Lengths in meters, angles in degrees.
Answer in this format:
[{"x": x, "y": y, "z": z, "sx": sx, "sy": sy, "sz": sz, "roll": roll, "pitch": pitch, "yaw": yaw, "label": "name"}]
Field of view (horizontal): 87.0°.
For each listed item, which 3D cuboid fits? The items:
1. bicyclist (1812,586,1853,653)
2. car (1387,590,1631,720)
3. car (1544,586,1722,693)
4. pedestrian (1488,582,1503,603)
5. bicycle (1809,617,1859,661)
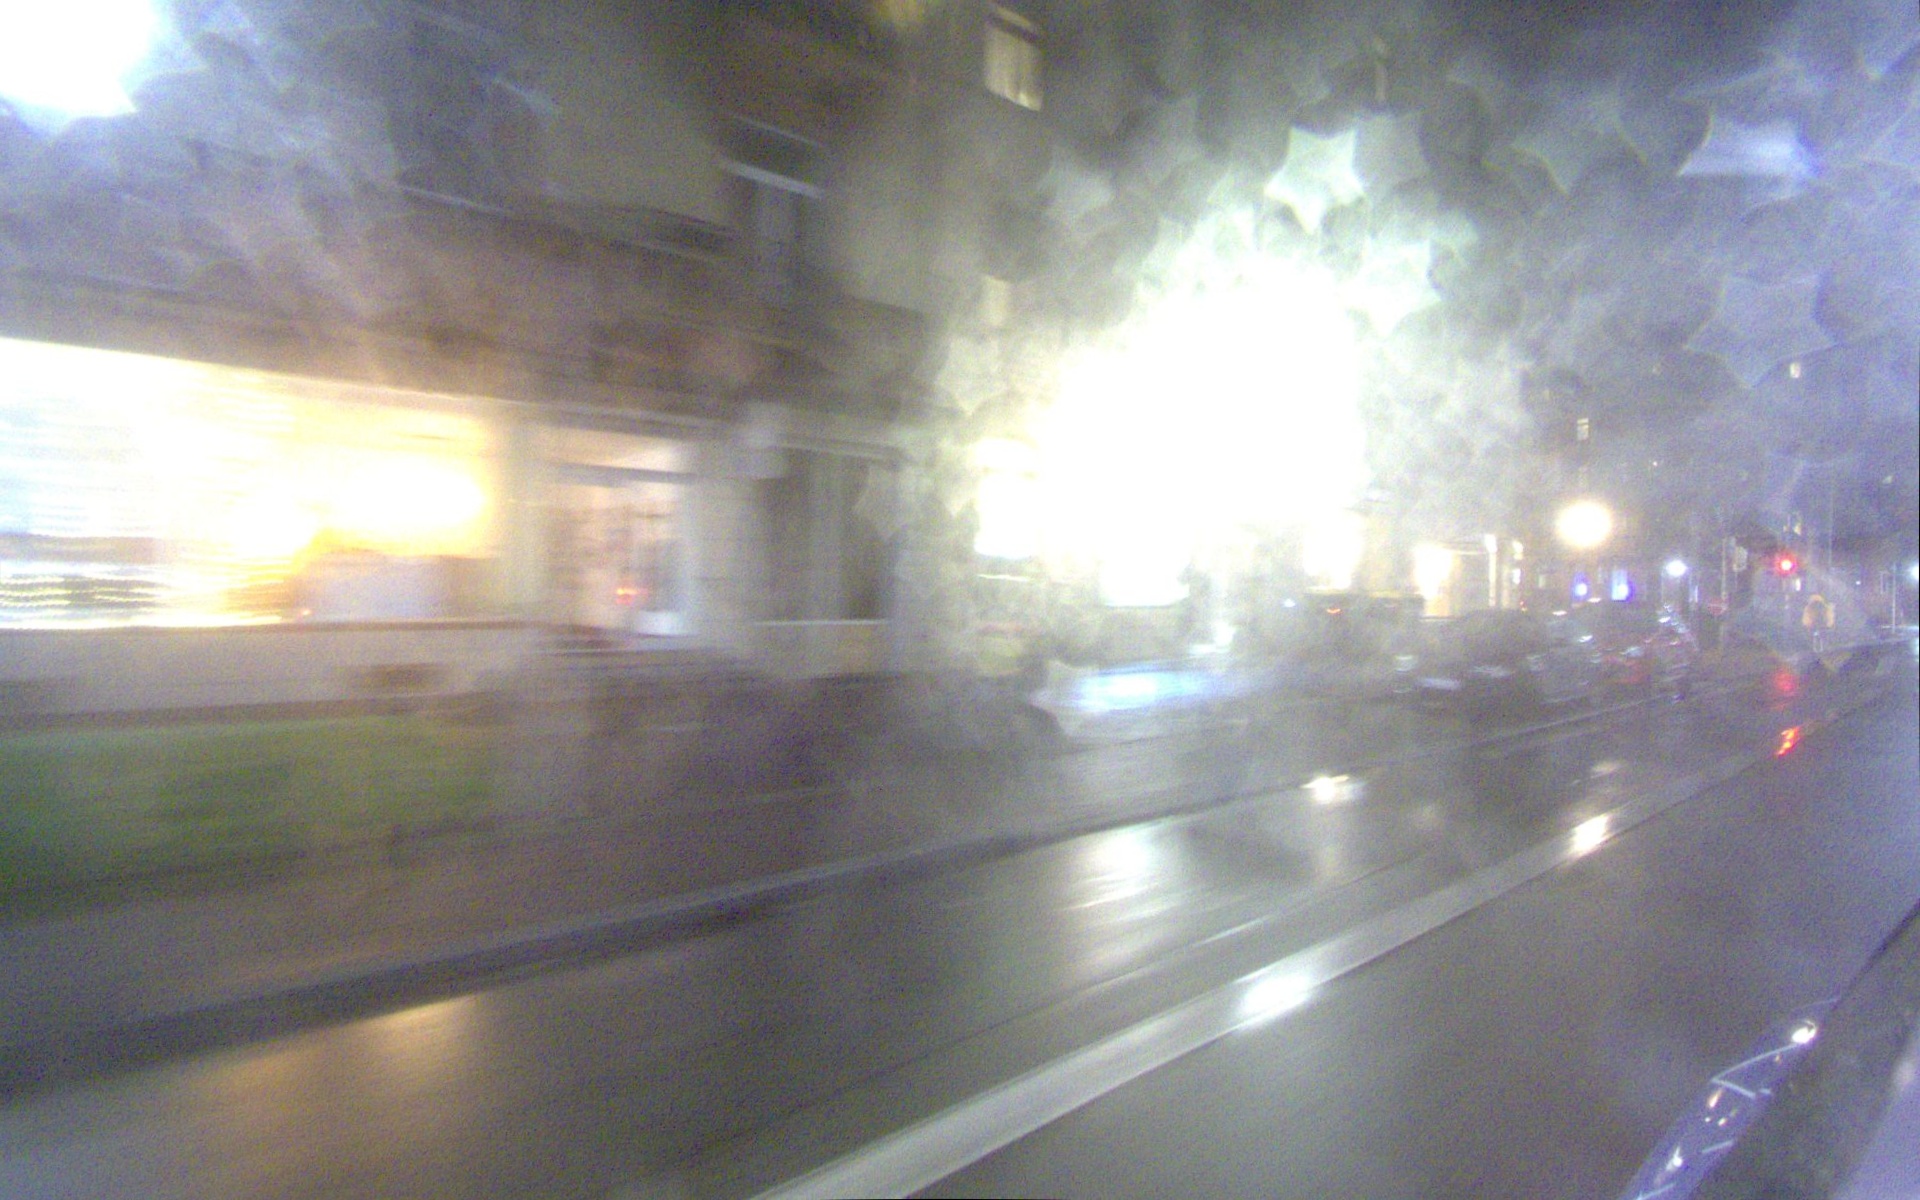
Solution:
[{"x": 20.899, "y": 0.450, "z": 24.251, "sx": 0.567, "sy": 1.567, "sz": 0.807, "roll": -1, "pitch": -1, "yaw": 31, "label": "bicyclist"}, {"x": 7.857, "y": 0.670, "z": 14.342, "sx": 3.984, "sy": 1.459, "sz": 1.649, "roll": 0, "pitch": 5, "yaw": -41, "label": "car"}, {"x": 11.754, "y": 0.607, "z": 17.608, "sx": 3.519, "sy": 1.543, "sz": 1.651, "roll": 0, "pitch": 5, "yaw": -42, "label": "car"}, {"x": 43.333, "y": -0.619, "z": 81.917, "sx": 0.621, "sy": 1.658, "sz": 0.844, "roll": -1, "pitch": -1, "yaw": -14, "label": "pedestrian"}, {"x": 20.867, "y": 0.914, "z": 24.187, "sx": 0.567, "sy": 0.981, "sz": 1.761, "roll": -1, "pitch": 0, "yaw": 30, "label": "bicycle"}]
